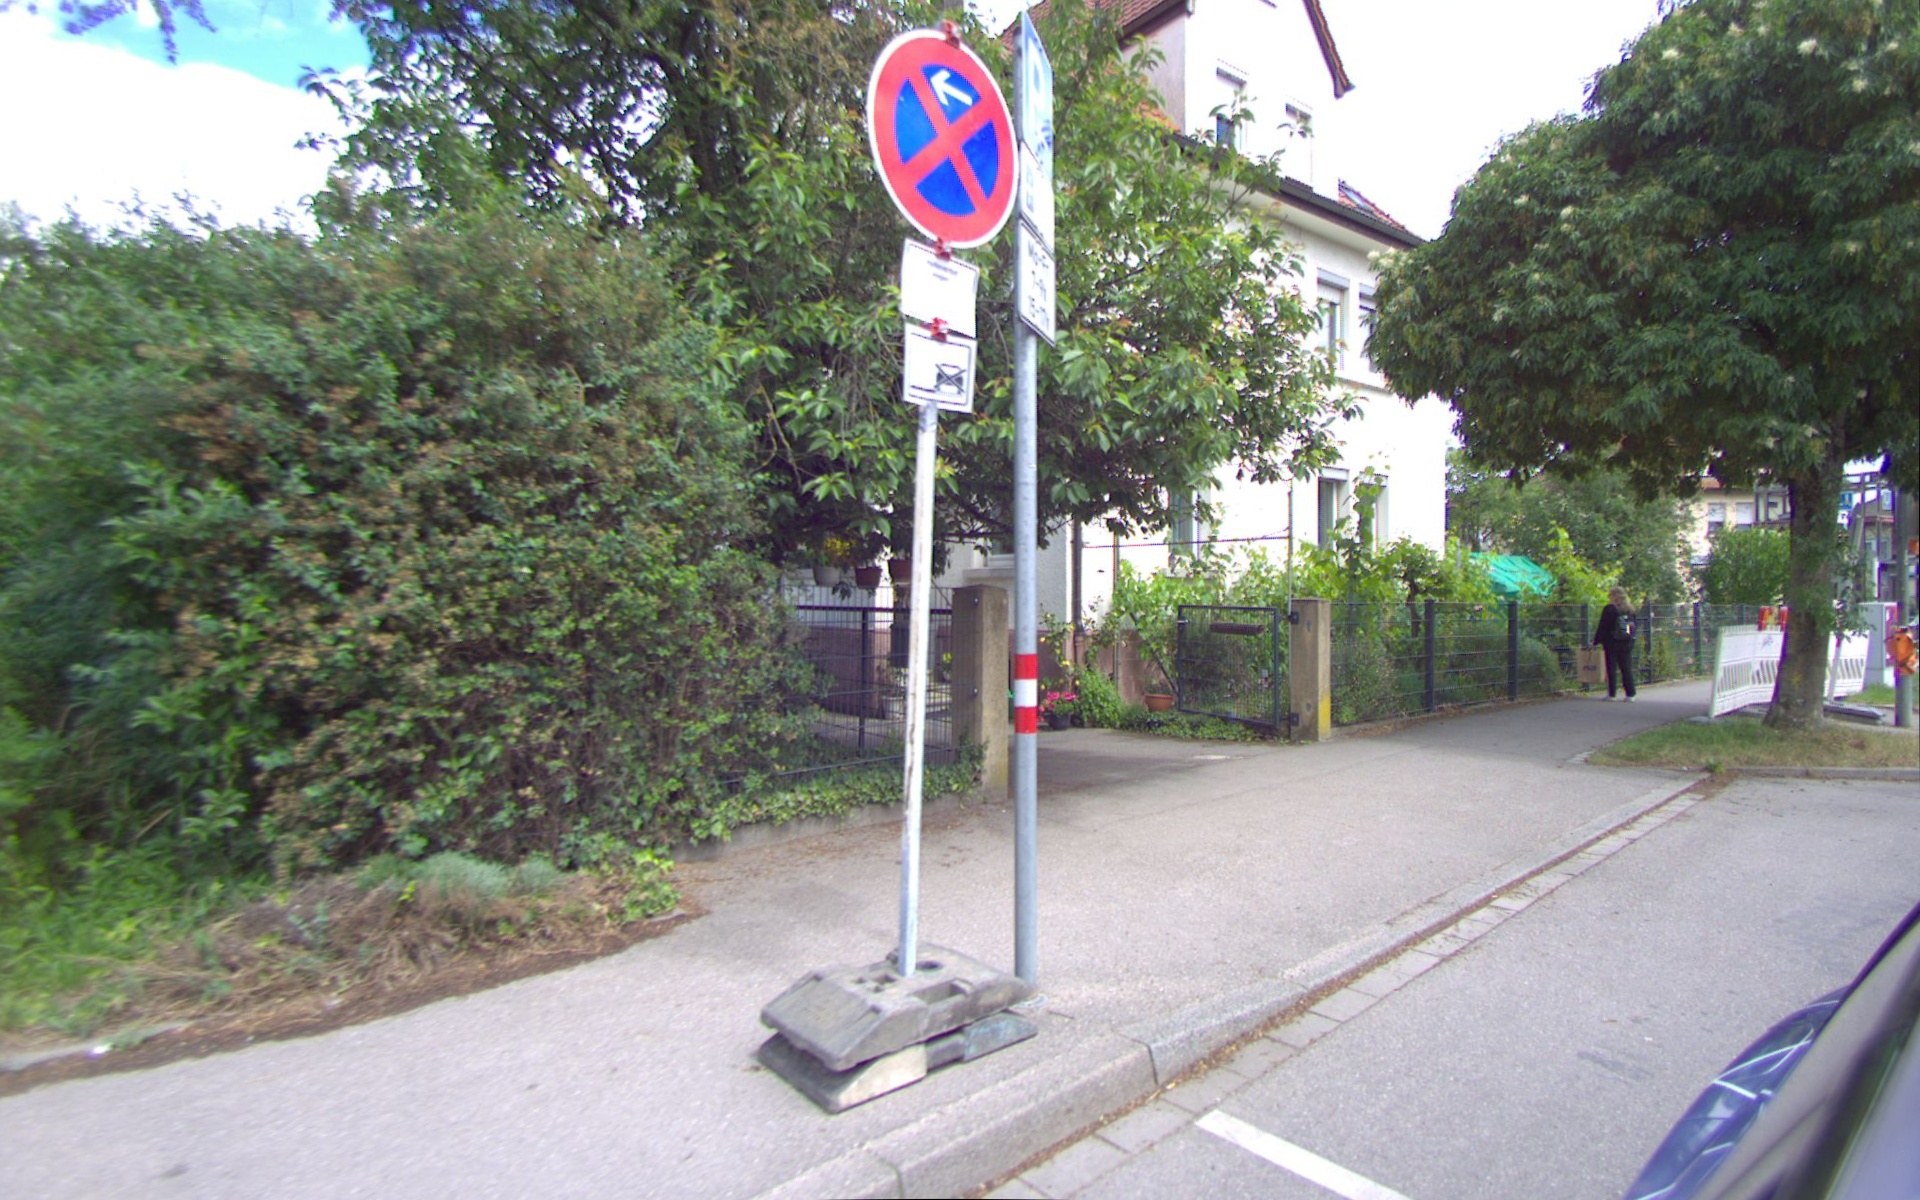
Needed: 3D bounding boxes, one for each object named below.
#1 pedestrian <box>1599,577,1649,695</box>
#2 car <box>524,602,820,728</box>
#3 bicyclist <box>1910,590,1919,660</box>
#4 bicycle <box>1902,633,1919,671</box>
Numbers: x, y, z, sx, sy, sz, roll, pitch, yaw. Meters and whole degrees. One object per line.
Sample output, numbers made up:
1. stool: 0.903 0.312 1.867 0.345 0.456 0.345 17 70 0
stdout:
1. pedestrian: 9.058 0.476 13.804 0.519 1.559 0.627 1 0 37
2. car: -4.101 0.843 14.255 3.970 1.527 1.860 -2 -1 33
3. bicyclist: 20.271 0.519 20.864 1.154 1.434 0.659 1 -1 -28
4. bicycle: 20.248 1.066 20.813 2.020 0.763 0.638 1 -1 -28
